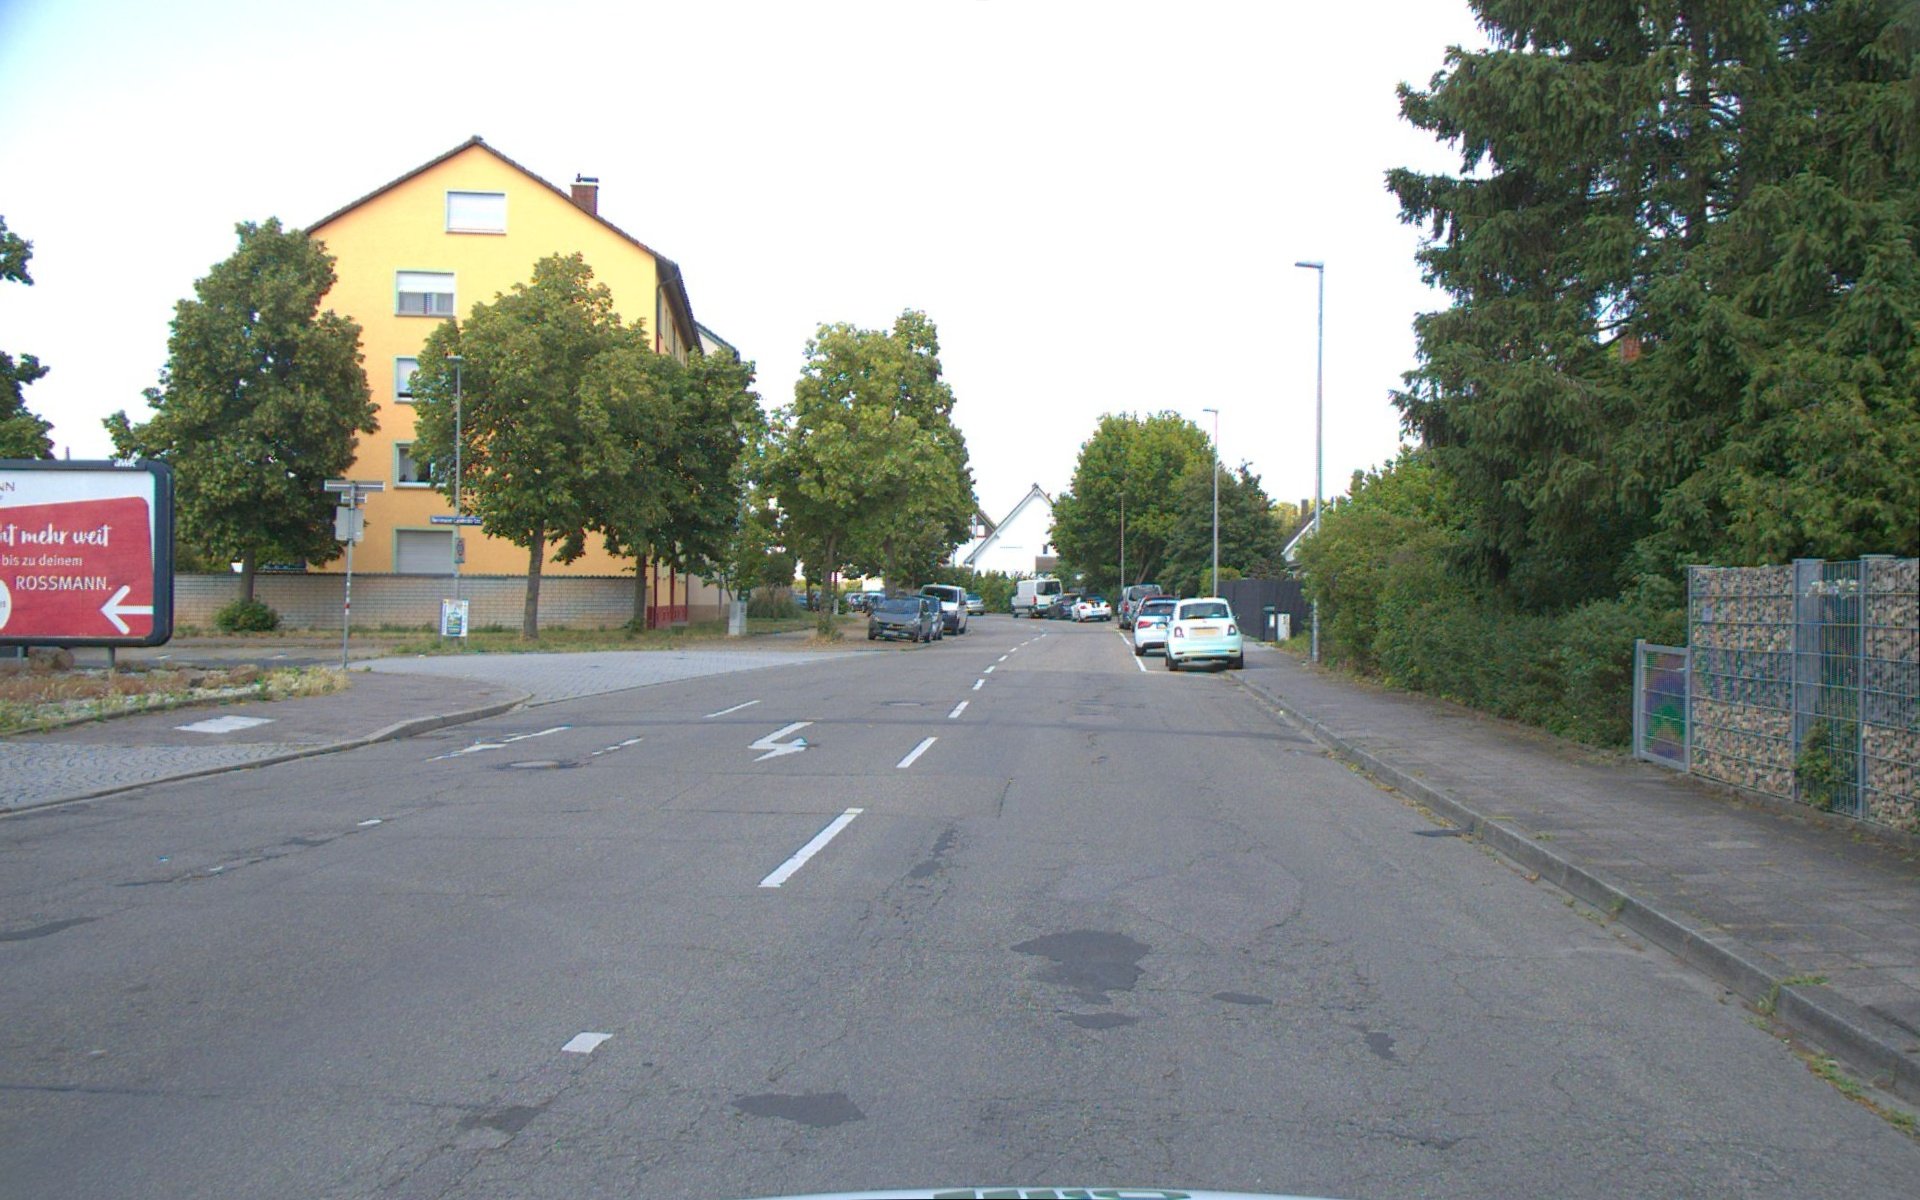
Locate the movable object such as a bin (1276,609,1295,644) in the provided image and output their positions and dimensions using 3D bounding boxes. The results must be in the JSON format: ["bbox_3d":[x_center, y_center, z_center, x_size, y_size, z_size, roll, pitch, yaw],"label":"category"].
[{"bbox_3d":[9.935,0.802,50.455,0.505,1.057,0.630,1,0,5],"label":"movable object such as a bin"}]

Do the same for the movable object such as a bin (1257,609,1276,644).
[{"bbox_3d":[9.346,0.794,50.495,0.505,1.057,0.630,1,0,5],"label":"movable object such as a bin"}]

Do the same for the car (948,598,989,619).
[{"bbox_3d":[0.597,0.601,118.469,1.710,1.483,4.342,1,0,-18],"label":"car"}]

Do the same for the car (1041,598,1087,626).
[{"bbox_3d":[6.124,0.703,97.692,1.687,1.613,4.111,1,0,-12],"label":"car"}]

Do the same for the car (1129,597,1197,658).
[{"bbox_3d":[5.407,0.699,43.826,1.684,1.512,3.752,1,0,8],"label":"car"}]

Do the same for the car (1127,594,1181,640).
[{"bbox_3d":[7.136,0.607,61.230,1.811,1.607,4.735,1,0,5],"label":"car"}]

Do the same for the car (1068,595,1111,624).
[{"bbox_3d":[7.102,0.488,90.934,1.706,1.539,4.454,1,0,-4],"label":"car"}]

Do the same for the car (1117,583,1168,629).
[{"bbox_3d":[8.163,0.260,74.255,1.804,1.978,4.877,-2,0,2],"label":"car"}]

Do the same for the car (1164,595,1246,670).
[{"bbox_3d":[5.367,0.683,36.514,1.548,1.547,3.757,1,0,5],"label":"car"}]

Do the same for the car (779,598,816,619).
[{"bbox_3d":[-12.546,0.665,127.430,1.760,1.483,4.410,5,-2,-19],"label":"car"}]

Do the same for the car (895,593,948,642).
[{"bbox_3d":[-1.384,0.621,60.856,1.486,1.576,3.757,6,1,4],"label":"car"}]

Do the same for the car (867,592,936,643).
[{"bbox_3d":[-1.878,0.604,54.381,1.648,1.512,3.986,3,-1,6],"label":"car"}]

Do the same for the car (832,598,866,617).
[{"bbox_3d":[-9.724,0.663,144.669,1.770,1.550,3.946,1,0,-23],"label":"car"}]

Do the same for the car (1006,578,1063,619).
[{"bbox_3d":[4.655,-0.104,104.136,2.081,2.484,5.875,1,0,-13],"label":"car"}]

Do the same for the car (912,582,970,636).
[{"bbox_3d":[-0.743,0.348,69.156,1.840,2.044,5.325,4,0,4],"label":"car"}]
